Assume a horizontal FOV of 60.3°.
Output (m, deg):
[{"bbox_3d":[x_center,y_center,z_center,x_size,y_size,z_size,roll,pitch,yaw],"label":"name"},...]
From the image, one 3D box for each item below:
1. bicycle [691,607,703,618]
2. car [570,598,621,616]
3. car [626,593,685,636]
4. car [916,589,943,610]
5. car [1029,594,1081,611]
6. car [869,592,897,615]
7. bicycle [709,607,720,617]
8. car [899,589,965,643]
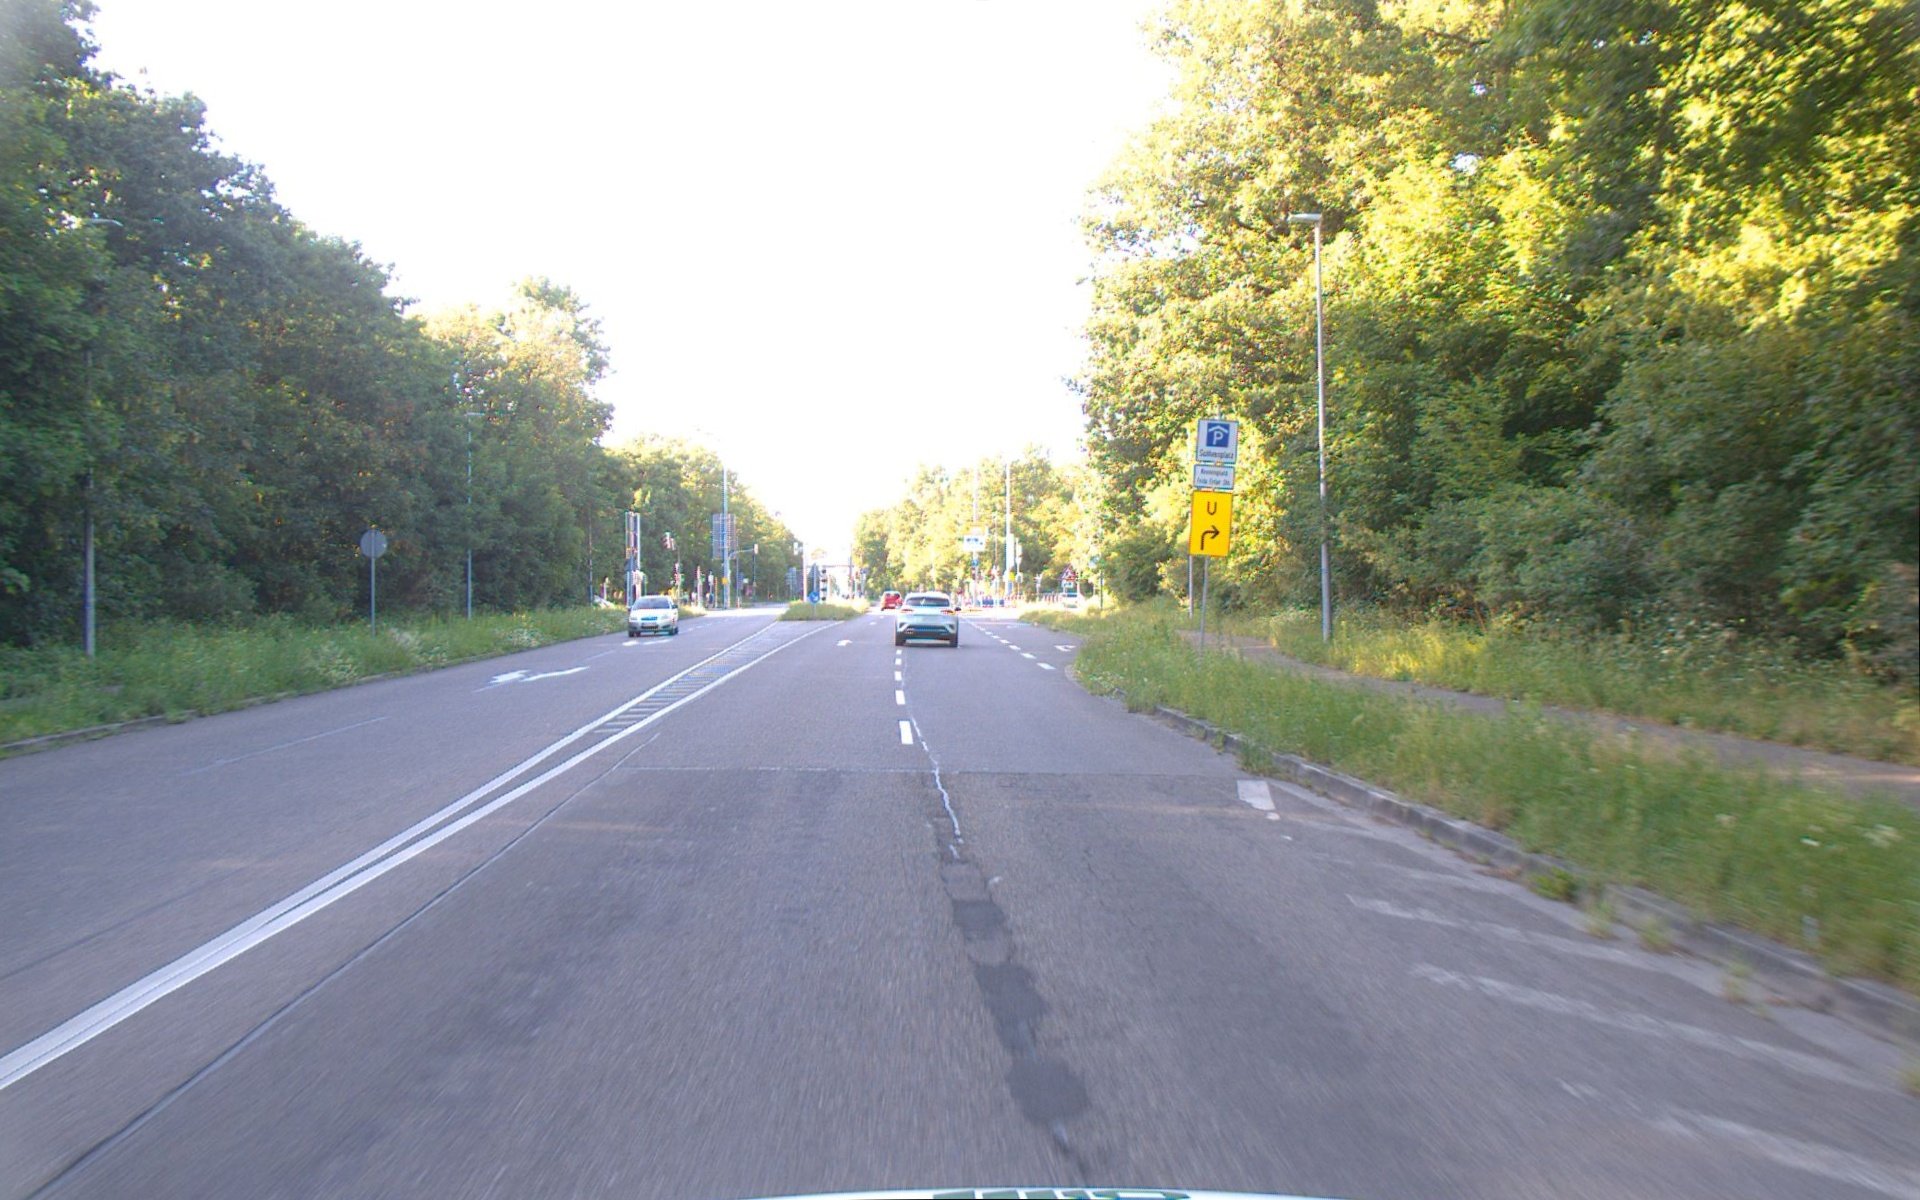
[{"bbox_3d":[-24.008,1.131,150.911,0.700,0.930,1.911,0,0,1],"label":"bicycle"},{"bbox_3d":[-29.647,0.544,134.434,3.743,1.414,1.911,0,0,-28],"label":"car"},{"bbox_3d":[-11.450,0.514,62.387,1.793,1.480,4.475,-2,0,-6],"label":"car"},{"bbox_3d":[-2.151,-0.026,117.952,1.901,1.439,3.999,0,0,-1],"label":"car"},{"bbox_3d":[9.313,0.236,162.035,4.753,1.608,1.985,0,0,-24],"label":"car"},{"bbox_3d":[-5.828,0.262,125.065,1.955,1.714,3.995,0,0,-6],"label":"car"},{"bbox_3d":[-22.796,1.091,153.884,0.700,0.930,1.911,0,0,1],"label":"bicycle"},{"bbox_3d":[-0.843,0.457,47.866,1.826,1.469,3.998,1,0,-2],"label":"car"}]
